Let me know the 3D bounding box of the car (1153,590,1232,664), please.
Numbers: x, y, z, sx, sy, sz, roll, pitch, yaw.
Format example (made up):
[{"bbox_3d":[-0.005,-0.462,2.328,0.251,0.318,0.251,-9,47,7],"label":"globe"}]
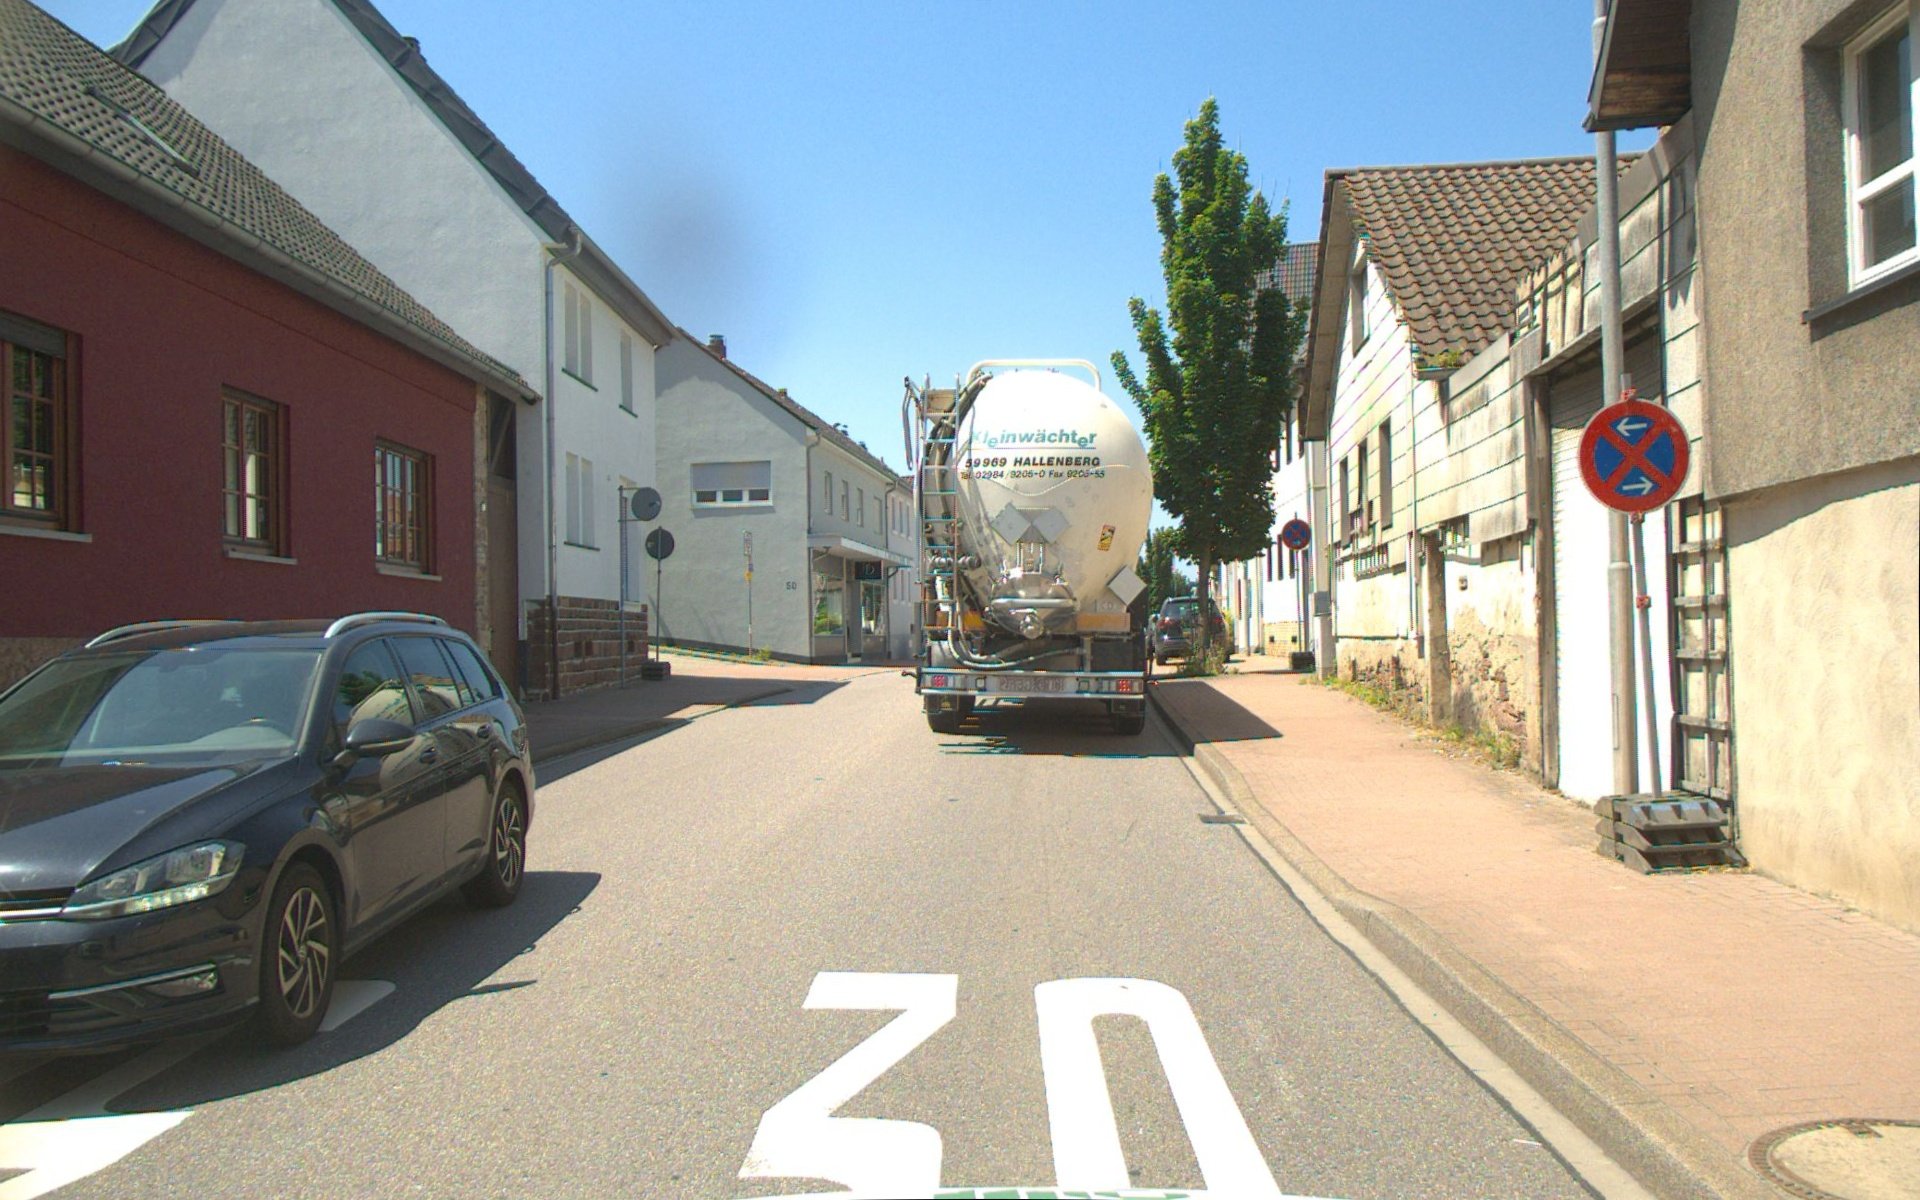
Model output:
[{"bbox_3d":[5.801,0.670,41.721,1.764,1.642,4.551,-4,-1,6],"label":"car"}]

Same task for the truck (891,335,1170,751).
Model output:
[{"bbox_3d":[0.955,-0.547,20.180,2.675,4.029,8.145,1,0,4],"label":"truck"}]

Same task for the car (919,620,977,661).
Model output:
[{"bbox_3d":[-0.440,1.620,66.507,1.770,1.584,4.567,0,-1,7],"label":"car"}]

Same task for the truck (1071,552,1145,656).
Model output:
[{"bbox_3d":[6.323,0.135,71.272,2.900,4.140,9.288,-1,0,5],"label":"truck"}]

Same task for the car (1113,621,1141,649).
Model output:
[{"bbox_3d":[12.434,2.597,123.542,1.905,2.005,4.787,-2,-1,5],"label":"car"}]

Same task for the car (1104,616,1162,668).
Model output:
[{"bbox_3d":[5.602,1.332,53.256,1.664,1.472,4.839,-5,-2,6],"label":"car"}]

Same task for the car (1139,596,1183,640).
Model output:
[{"bbox_3d":[9.869,0.904,81.369,1.905,2.005,4.787,-2,-1,5],"label":"car"}]

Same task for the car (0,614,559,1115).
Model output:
[{"bbox_3d":[-3.072,0.828,7.023,1.660,1.434,4.200,-3,0,0],"label":"car"}]
